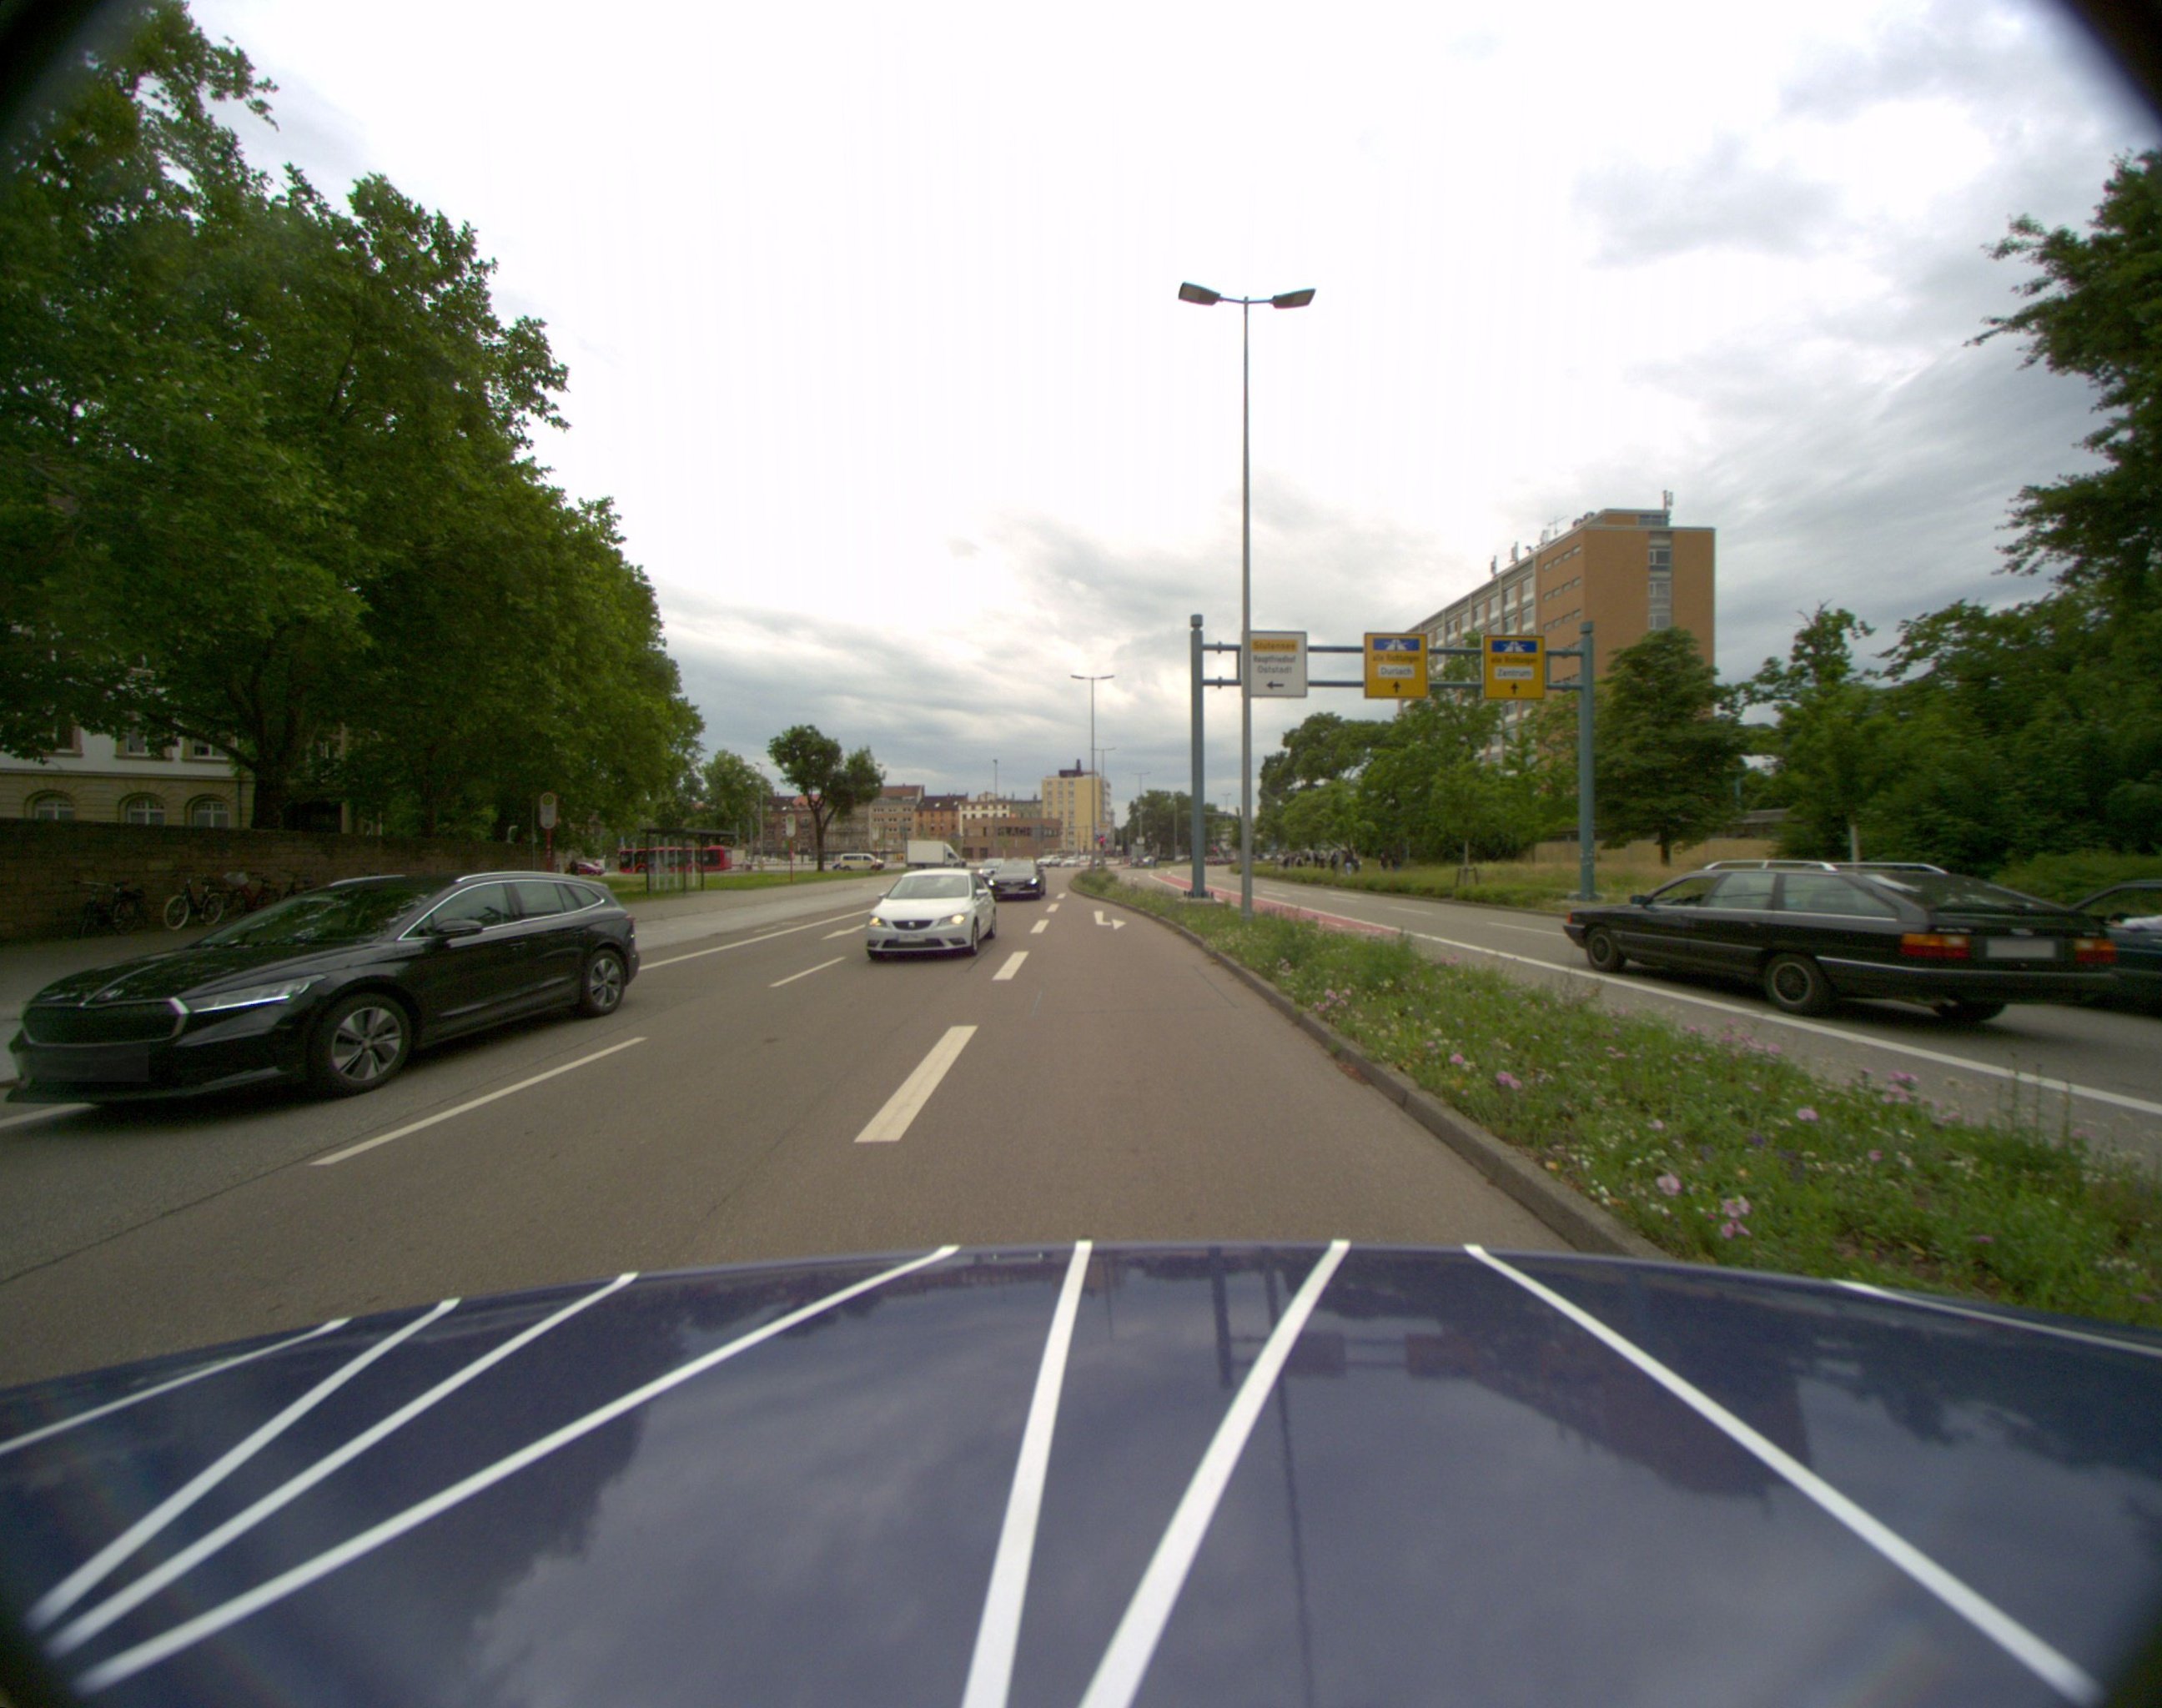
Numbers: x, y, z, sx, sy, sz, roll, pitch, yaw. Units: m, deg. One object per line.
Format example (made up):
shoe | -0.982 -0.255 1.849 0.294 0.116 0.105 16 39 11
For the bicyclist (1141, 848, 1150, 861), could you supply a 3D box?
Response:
bicyclist | 8.738 0.131 102.594 1.191 1.725 0.807 1 0 2

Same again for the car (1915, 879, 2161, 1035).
car | 10.720 0.989 7.133 1.612 1.373 3.809 1 0 1

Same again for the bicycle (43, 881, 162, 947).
bicycle | -18.434 1.099 14.370 0.722 1.093 1.788 1 0 -28

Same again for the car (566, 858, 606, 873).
car | -54.514 1.272 83.788 3.431 1.372 1.288 -1 -7 -5

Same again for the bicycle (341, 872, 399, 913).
bicycle | -20.516 1.088 21.973 0.599 1.098 1.652 1 0 -19

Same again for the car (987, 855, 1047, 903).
car | -2.333 0.873 28.721 1.888 1.591 4.446 -3 0 -1

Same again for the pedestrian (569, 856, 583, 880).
pedestrian | -37.062 0.995 55.722 0.759 1.725 0.820 1 0 -39

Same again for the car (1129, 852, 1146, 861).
car | 9.489 0.427 128.235 1.606 1.586 3.766 1 0 25

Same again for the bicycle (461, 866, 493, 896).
bicycle | -23.676 1.053 29.800 0.596 1.129 1.709 1 0 -25

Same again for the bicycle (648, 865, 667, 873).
bicycle | -45.471 1.610 81.600 1.695 0.910 0.767 1 0 -10

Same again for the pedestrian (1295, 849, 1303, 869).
pedestrian | 18.756 0.429 65.387 0.622 1.685 0.747 1 0 11

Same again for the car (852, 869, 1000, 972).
car | -2.595 1.060 13.622 1.786 1.454 3.870 -2 0 0

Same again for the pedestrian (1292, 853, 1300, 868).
pedestrian | 20.307 0.618 71.772 0.637 1.471 0.762 1 0 4

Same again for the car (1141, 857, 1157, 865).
car | 12.849 1.303 144.175 1.801 1.586 3.766 1 0 25

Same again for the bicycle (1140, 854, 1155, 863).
bicycle | 8.954 0.618 102.592 2.005 1.136 0.807 1 0 2

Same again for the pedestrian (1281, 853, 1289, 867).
pedestrian | 23.214 0.676 86.339 0.708 1.661 0.943 -1 0 4

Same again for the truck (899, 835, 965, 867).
truck | -16.724 -0.385 85.610 6.852 3.393 2.559 -1 2 -5

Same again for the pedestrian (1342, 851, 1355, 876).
pedestrian | 18.032 0.613 51.233 0.587 1.650 0.720 1 0 -5

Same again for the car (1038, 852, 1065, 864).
car | -3.915 0.539 100.017 1.816 1.466 4.040 1 0 26

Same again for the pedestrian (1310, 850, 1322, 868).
pedestrian | 21.426 0.463 69.215 0.635 1.603 0.829 -2 0 -21

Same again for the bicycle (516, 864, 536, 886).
bicycle | -26.373 1.006 36.127 0.552 0.986 1.633 1 0 -28

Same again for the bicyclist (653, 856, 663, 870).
bicyclist | -45.421 0.919 81.611 0.740 1.499 0.767 1 0 -10

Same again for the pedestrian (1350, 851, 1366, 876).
pedestrian | 18.714 0.635 51.306 0.709 1.663 0.767 1 0 -5

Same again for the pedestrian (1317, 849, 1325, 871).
pedestrian | 17.801 0.462 56.382 0.575 1.599 0.617 1 0 16

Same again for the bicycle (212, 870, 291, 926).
bicycle | -19.588 1.014 17.981 0.501 1.214 1.624 1 0 -17

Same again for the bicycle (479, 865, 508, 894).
bicycle | -24.287 1.035 31.425 0.596 1.123 1.709 1 0 -25

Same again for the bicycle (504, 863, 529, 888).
bicycle | -25.661 0.970 34.556 0.596 1.053 1.709 1 0 -25

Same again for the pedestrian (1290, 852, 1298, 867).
pedestrian | 24.147 0.615 86.211 0.708 1.661 0.890 -2 0 4

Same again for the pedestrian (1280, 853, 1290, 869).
pedestrian | 19.275 0.634 71.907 0.730 1.471 0.813 1 0 4

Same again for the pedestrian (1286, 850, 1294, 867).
pedestrian | 22.583 0.507 82.157 0.638 1.790 0.762 -1 0 4

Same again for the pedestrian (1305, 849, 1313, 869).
pedestrian | 19.620 0.432 65.306 0.579 1.702 0.763 1 0 15

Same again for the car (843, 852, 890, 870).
car | -23.966 0.773 85.077 4.712 1.909 1.919 -1 3 -3

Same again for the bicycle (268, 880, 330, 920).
bicycle | -20.058 1.154 19.529 0.417 0.937 1.523 1 0 -17

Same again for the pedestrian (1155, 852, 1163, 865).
pedestrian | 10.260 0.562 100.046 0.777 1.657 0.706 1 0 -8

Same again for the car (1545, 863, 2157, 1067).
car | 7.452 0.899 8.310 1.768 1.452 4.791 1 0 0

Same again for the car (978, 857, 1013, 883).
car | -5.238 0.936 46.960 1.671 1.457 3.659 -1 0 0

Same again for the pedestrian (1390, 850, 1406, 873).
pedestrian | 18.513 0.423 44.410 0.646 1.354 0.680 1 0 -2

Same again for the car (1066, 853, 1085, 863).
car | -0.825 0.599 109.223 1.515 1.382 3.437 1 0 22

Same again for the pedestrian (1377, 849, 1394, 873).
pedestrian | 17.778 0.418 44.351 0.646 1.350 0.711 1 0 -1

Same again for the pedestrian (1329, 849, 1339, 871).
pedestrian | 18.740 0.456 56.213 0.661 1.622 0.764 1 0 16

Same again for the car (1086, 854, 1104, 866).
car | 2.296 0.967 121.192 1.835 1.753 3.917 1 0 18

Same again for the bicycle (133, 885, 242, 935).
bicycle | -19.040 1.169 16.242 0.656 0.945 1.767 1 0 -17

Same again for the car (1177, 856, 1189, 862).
car | 21.442 1.052 160.291 1.782 1.255 3.536 -1 0 19

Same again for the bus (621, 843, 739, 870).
bus | -46.871 0.259 89.064 12.091 2.891 2.937 -1 0 -3

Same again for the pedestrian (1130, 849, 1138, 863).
pedestrian | 6.904 0.257 99.591 0.917 1.794 0.541 1 0 17

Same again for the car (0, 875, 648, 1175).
car | -6.147 1.100 6.809 1.912 1.615 4.490 -2 0 0

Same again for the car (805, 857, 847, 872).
car | -30.116 1.264 89.855 4.430 1.735 1.764 1 0 -6

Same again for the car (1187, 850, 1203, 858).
car | 21.771 0.020 144.795 1.606 1.586 3.767 1 0 32

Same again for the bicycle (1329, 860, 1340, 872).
bicycle | 18.733 0.860 56.212 0.661 0.882 1.717 1 0 16

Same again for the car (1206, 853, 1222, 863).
car | 22.835 0.692 130.387 1.812 1.657 3.955 1 1 23
